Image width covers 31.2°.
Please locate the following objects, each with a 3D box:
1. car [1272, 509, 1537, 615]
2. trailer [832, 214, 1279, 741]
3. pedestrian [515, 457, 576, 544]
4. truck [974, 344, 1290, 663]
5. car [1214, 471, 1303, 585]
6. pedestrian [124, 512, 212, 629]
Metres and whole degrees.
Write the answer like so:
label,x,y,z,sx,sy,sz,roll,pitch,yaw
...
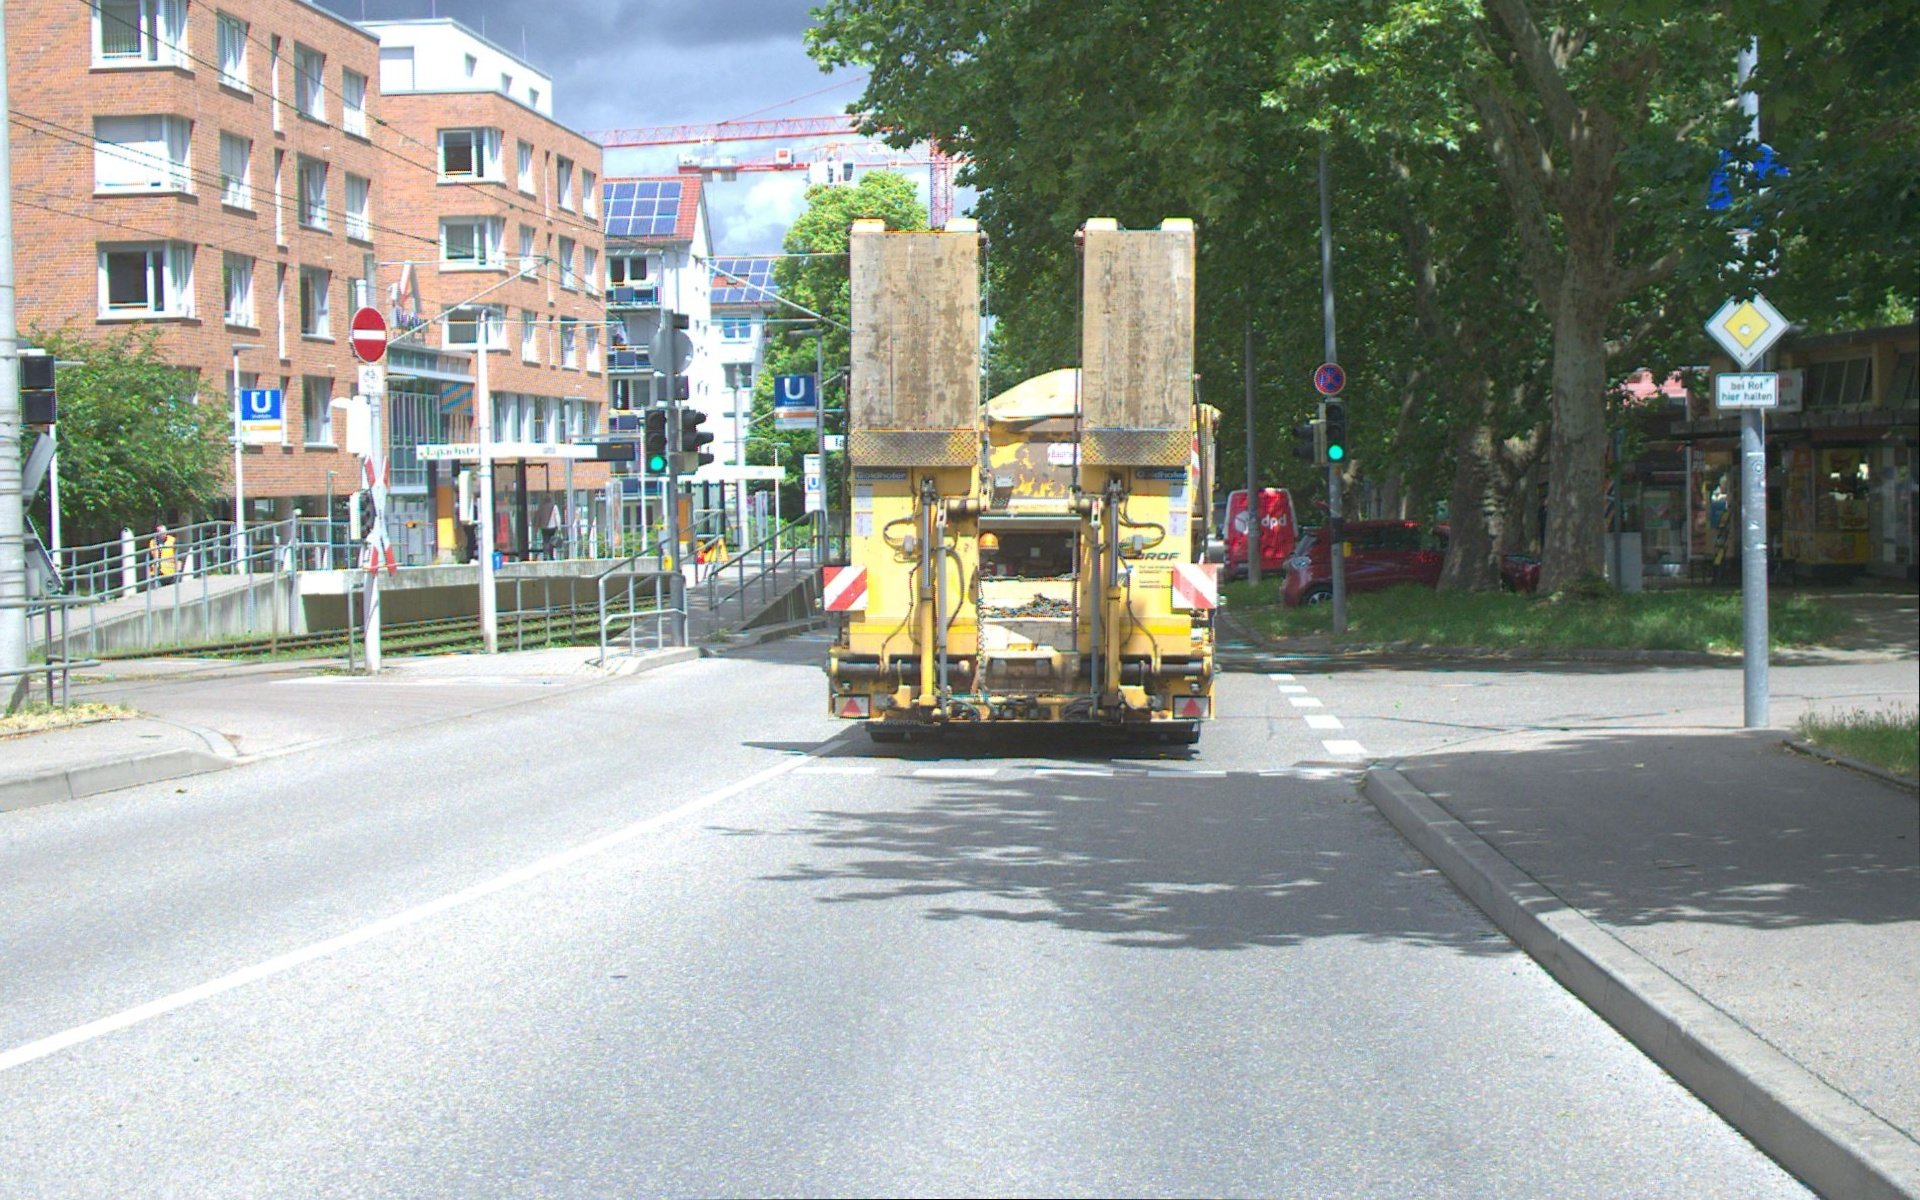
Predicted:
label,x,y,z,sx,sy,sz,roll,pitch,yaw
car,6.831,-0.608,53.059,3.988,1.506,2.000,0,4,6
trailer,0.991,-0.834,27.451,2.864,3.361,10.839,0,1,4
pedestrian,-9.747,-2.349,80.890,1.137,2.007,0.998,-1,1,10
truck,1.834,-1.117,37.207,2.988,3.024,8.486,1,3,3
car,7.891,-1.943,90.487,1.994,2.818,5.114,3,2,7
pedestrian,-13.787,-0.521,59.859,1.137,2.007,0.998,-1,1,10
